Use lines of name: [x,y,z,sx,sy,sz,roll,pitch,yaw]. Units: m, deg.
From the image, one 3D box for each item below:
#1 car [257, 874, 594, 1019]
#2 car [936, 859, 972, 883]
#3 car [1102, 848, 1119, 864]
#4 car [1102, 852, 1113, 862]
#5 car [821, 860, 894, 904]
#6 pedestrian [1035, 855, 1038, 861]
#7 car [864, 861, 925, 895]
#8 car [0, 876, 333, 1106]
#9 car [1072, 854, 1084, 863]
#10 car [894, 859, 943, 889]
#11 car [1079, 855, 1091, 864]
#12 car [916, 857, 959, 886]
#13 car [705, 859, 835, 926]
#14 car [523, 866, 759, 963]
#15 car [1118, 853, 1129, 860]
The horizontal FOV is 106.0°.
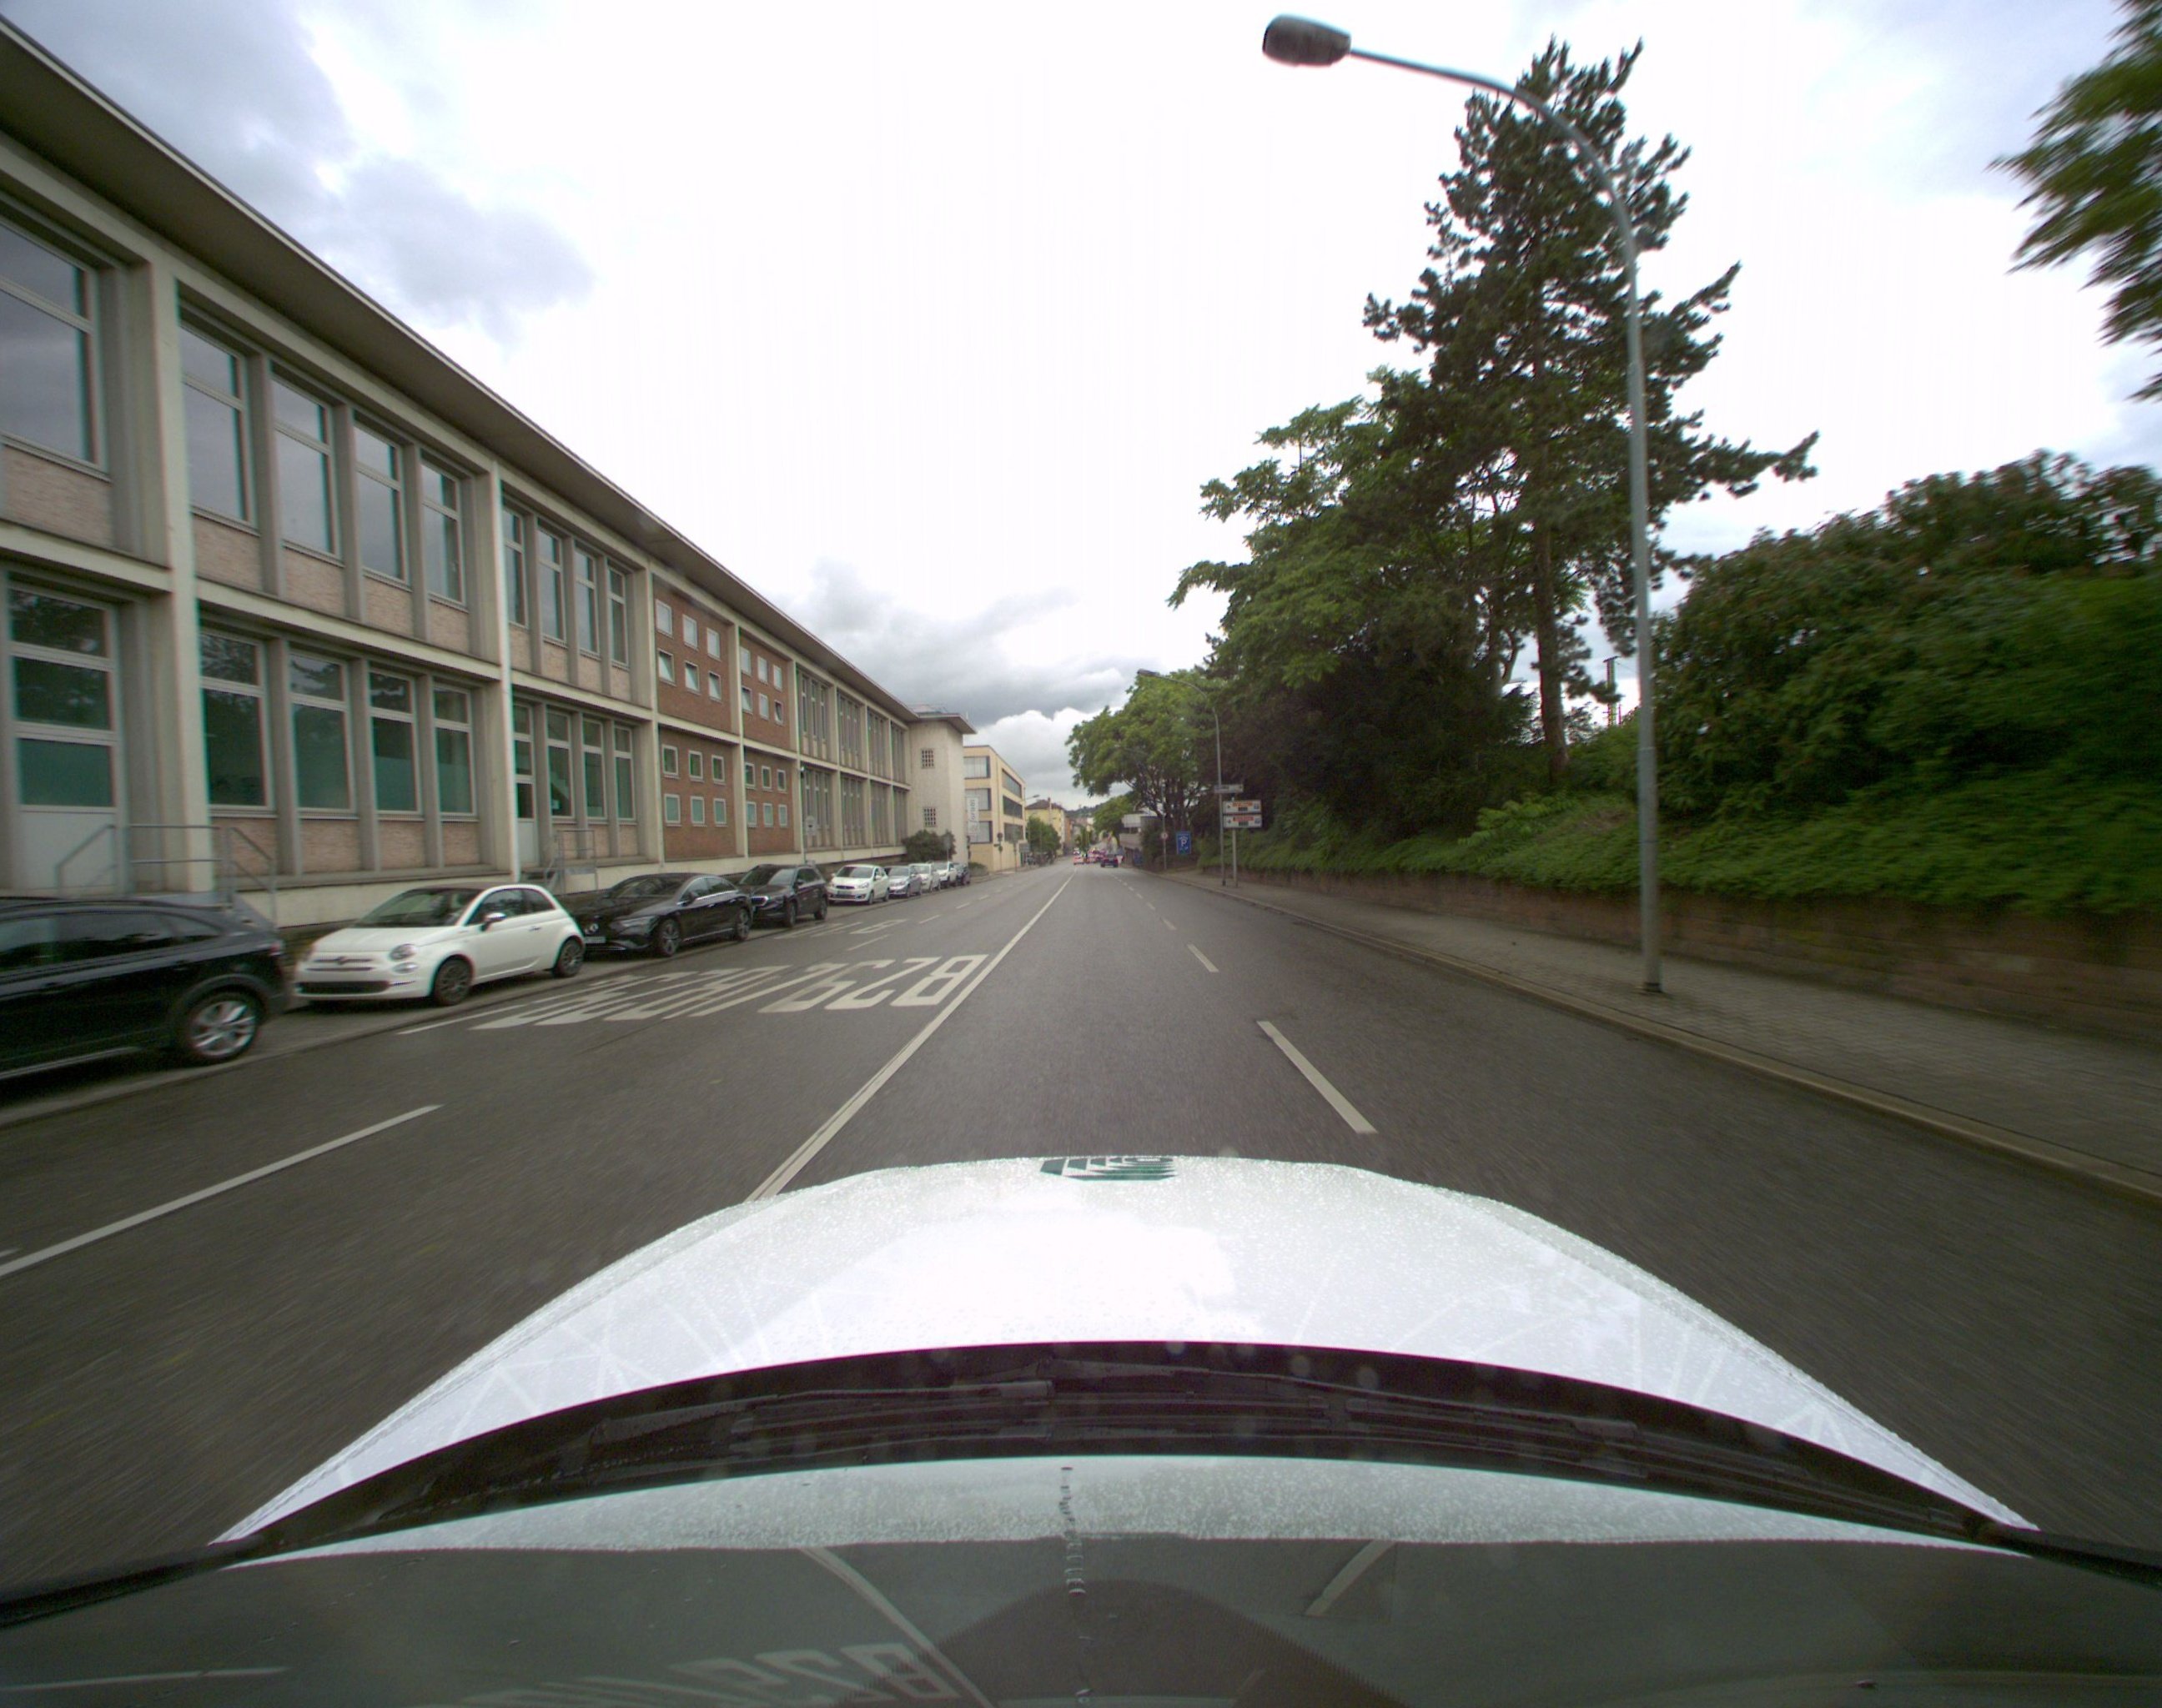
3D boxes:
car: [-8.554,1.104,11.079,1.560,1.484,3.555,-2,0,2]
car: [-8.188,1.075,52.843,1.743,1.480,4.180,0,0,-1]
car: [3.861,0.231,106.030,2.084,1.910,4.101,-1,0,1]
car: [5.445,0.660,164.958,2.165,2.004,4.001,-2,0,1]
car: [-8.611,1.027,31.655,1.673,1.522,3.921,-1,0,1]
pedestrian: [-9.316,0.781,171.438,0.450,1.278,0.455,-2,0,11]
car: [-8.361,1.029,36.879,1.743,1.435,4.484,0,0,-1]
car: [-8.639,1.050,6.143,1.853,1.552,4.315,-2,0,2]
car: [-0.586,0.835,149.581,1.990,1.680,3.994,-1,0,-4]
car: [-8.410,1.022,42.343,1.743,1.454,4.180,0,0,-1]
car: [0.683,1.022,157.520,1.990,1.680,3.994,-1,0,-4]
car: [-8.346,0.971,47.659,1.742,1.597,4.181,0,0,0]
car: [-8.353,0.957,22.369,1.835,1.653,4.514,0,-1,0]
car: [-8.374,1.057,16.157,1.808,1.484,4.912,-2,0,2]
car: [10.380,0.600,199.045,1.979,1.680,4.015,-1,0,14]
